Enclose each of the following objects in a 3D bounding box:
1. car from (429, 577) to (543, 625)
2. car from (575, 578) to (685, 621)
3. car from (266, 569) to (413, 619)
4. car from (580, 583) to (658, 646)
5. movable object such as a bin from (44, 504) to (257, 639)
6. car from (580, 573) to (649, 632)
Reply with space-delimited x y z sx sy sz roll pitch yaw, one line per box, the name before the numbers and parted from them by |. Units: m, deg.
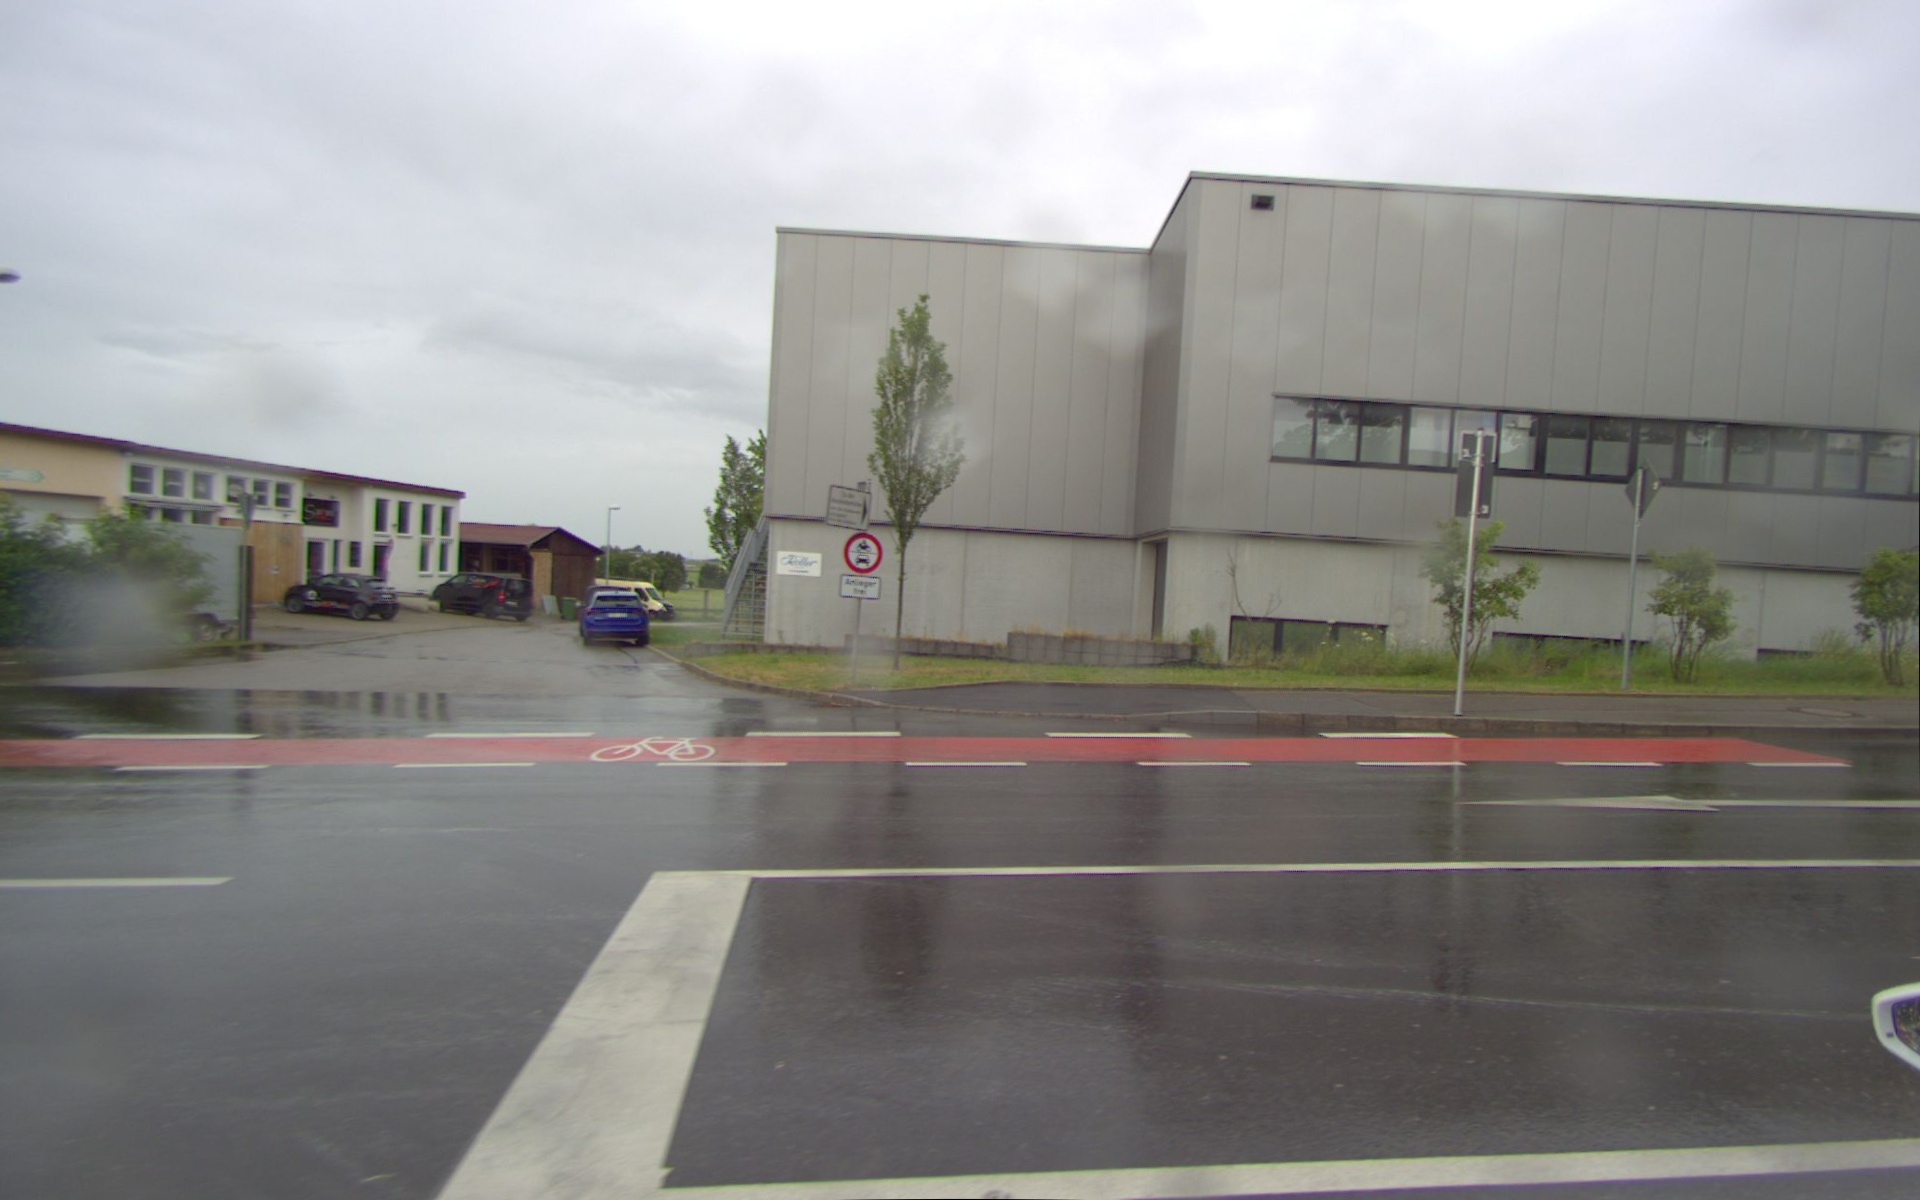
car | -20.838 0.042 44.220 4.323 1.930 2.000 1 -1 19
car | -20.447 -0.027 62.309 5.906 2.447 2.465 2 -1 6
car | -21.728 -0.186 35.257 3.919 1.576 2.001 2 -1 5
car | -9.793 0.420 28.829 1.928 1.631 4.427 2 -1 -19
movable object such as a bin | -17.040 -0.524 21.369 1.704 2.590 3.340 2 -1 0
car | -11.912 0.108 34.792 2.048 1.859 4.452 2 -1 -18
